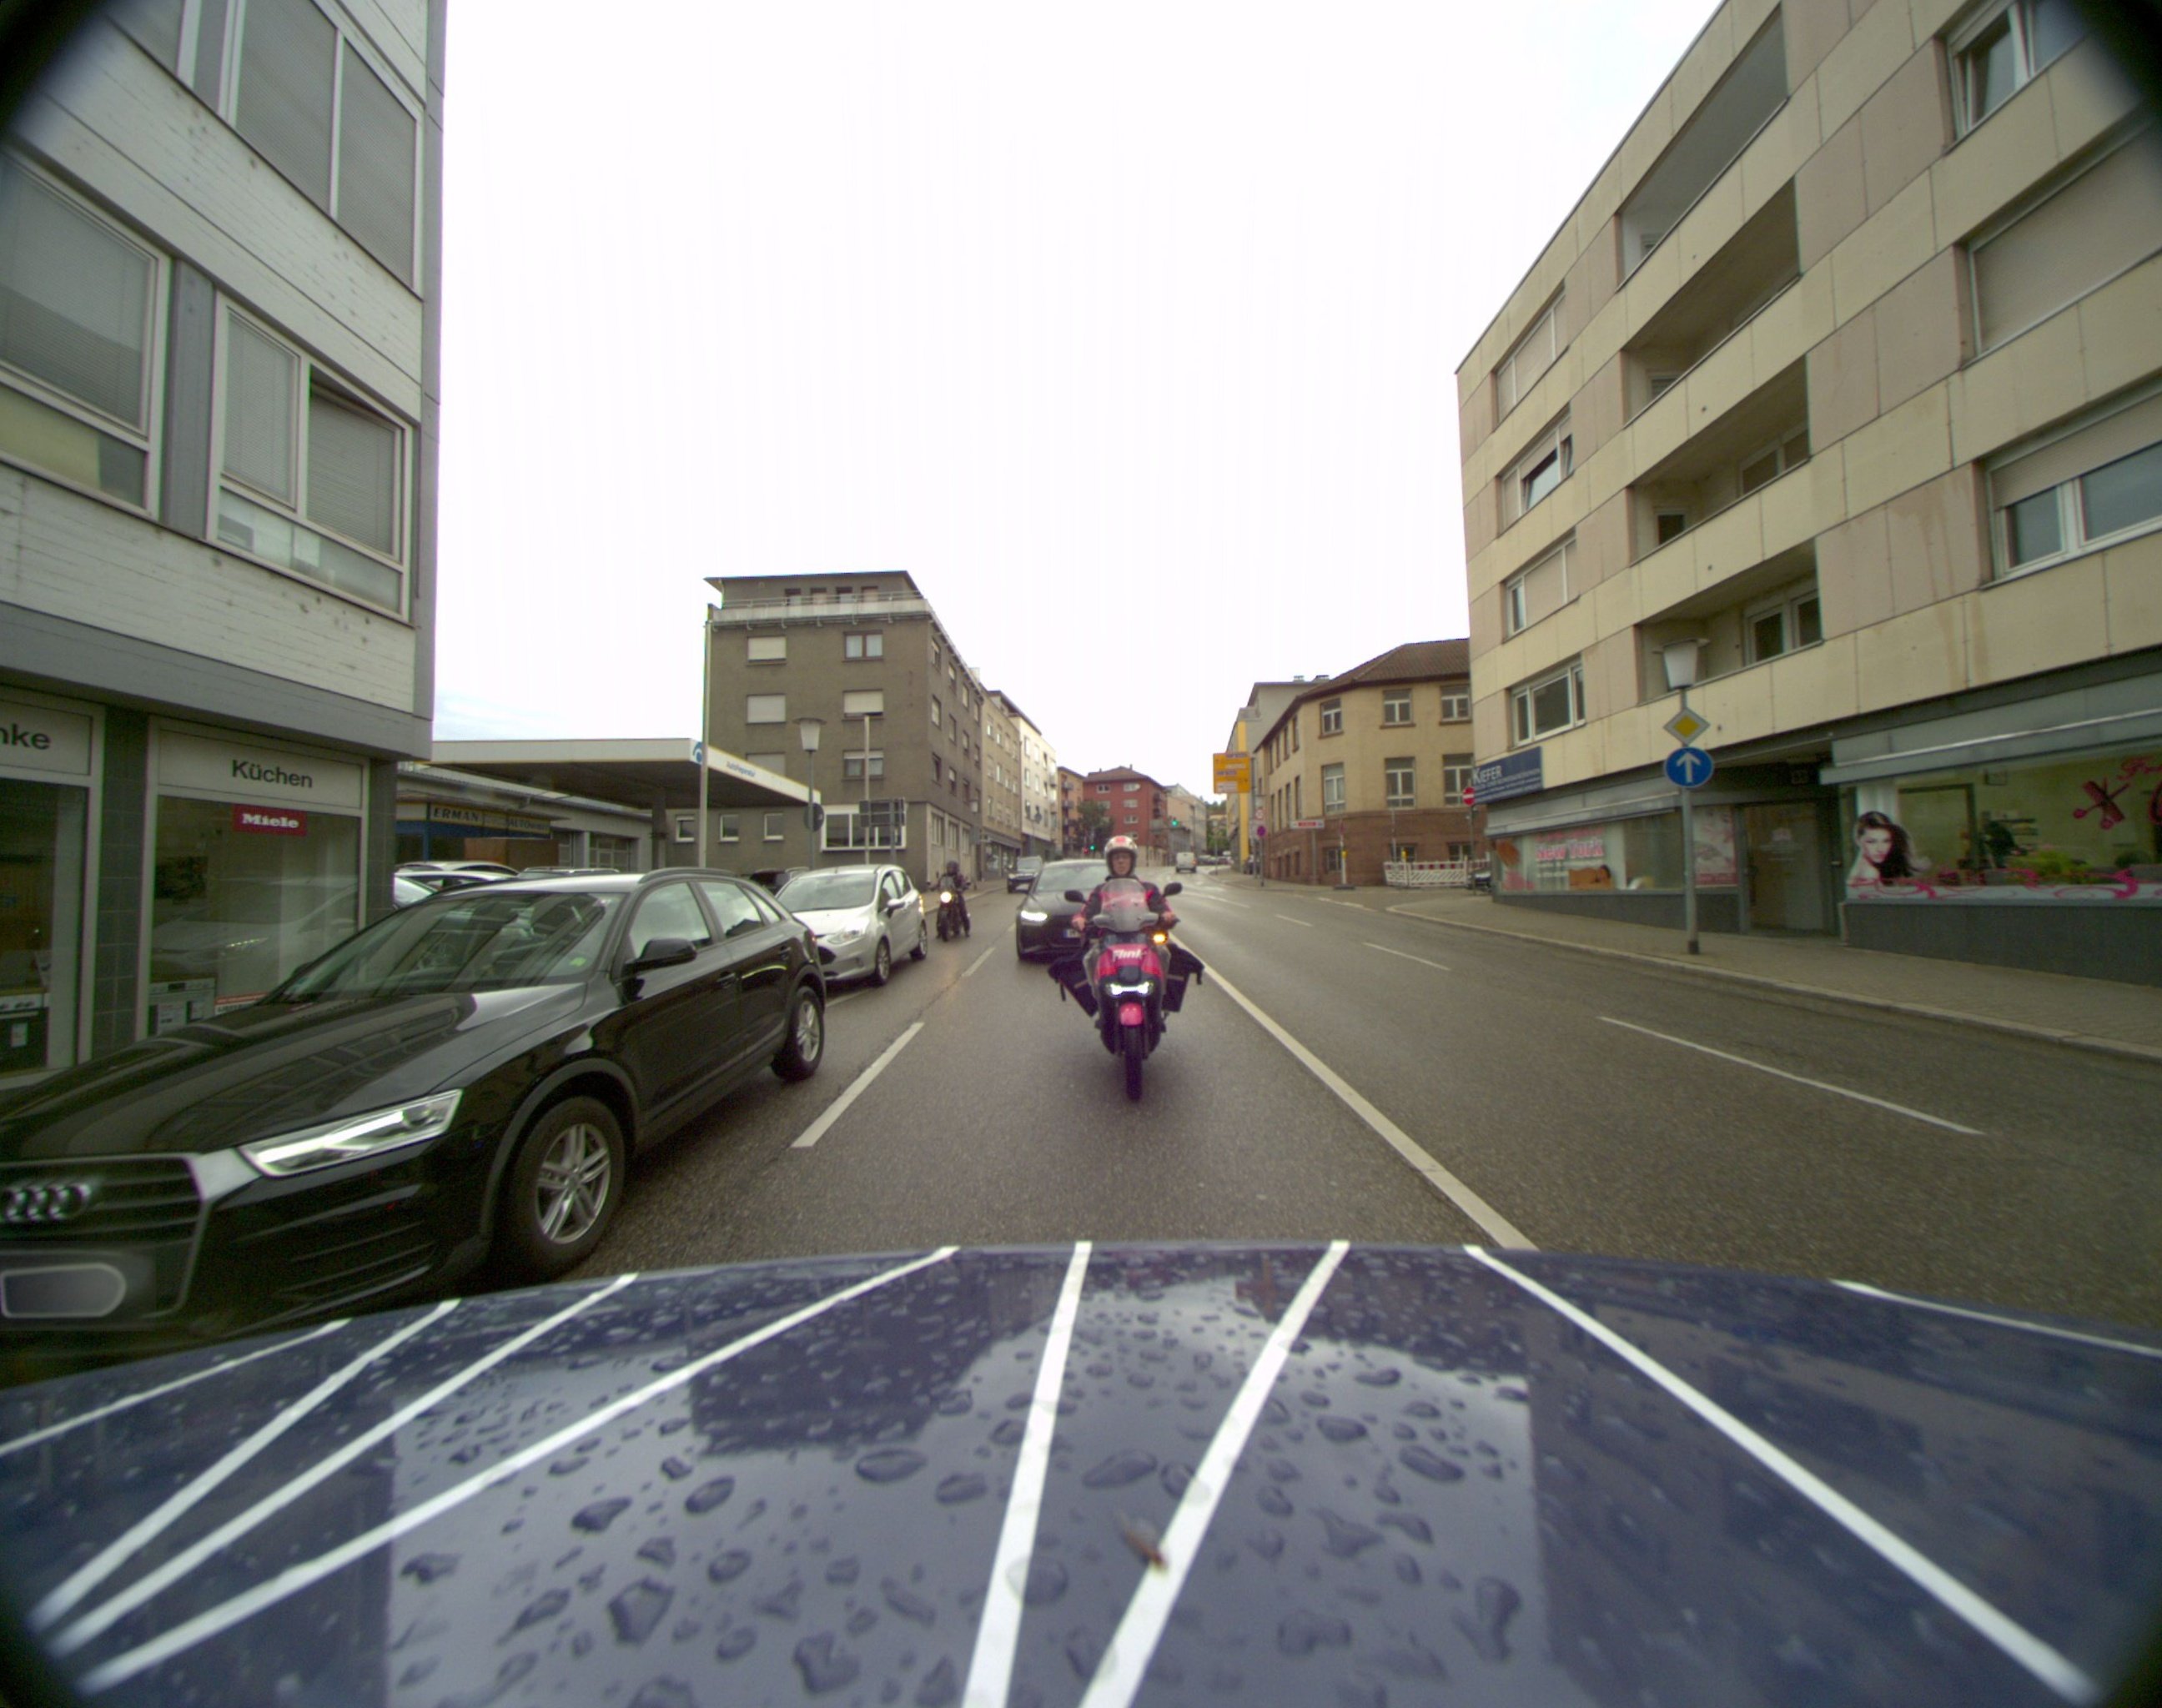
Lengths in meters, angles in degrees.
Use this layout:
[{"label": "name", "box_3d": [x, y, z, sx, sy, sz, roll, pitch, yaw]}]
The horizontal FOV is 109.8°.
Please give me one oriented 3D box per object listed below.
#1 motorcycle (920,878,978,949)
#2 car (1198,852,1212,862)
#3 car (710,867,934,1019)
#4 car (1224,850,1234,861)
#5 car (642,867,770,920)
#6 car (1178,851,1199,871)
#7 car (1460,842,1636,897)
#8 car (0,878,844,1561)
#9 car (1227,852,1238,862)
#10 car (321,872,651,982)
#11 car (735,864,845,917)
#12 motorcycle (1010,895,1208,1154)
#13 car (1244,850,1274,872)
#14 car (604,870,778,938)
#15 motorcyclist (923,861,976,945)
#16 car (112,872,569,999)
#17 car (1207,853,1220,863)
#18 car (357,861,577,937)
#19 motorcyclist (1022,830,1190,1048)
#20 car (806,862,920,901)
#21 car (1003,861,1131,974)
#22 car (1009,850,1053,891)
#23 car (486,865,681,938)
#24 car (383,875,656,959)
[{"label": "motorcycle", "box_3d": [-2.639, 1.154, 15.478, 0.847, 1.219, 2.372, -4, 0, -4]}, {"label": "car", "box_3d": [19.231, 0.481, 117.795, 1.860, 1.445, 4.323, -1, 0, 13]}, {"label": "car", "box_3d": [-3.398, 1.066, 10.925, 1.831, 1.532, 4.251, -5, 0, -3]}, {"label": "car", "box_3d": [27.016, 0.328, 138.768, 1.847, 1.893, 3.768, -1, 0, 11]}, {"label": "car", "box_3d": [-11.989, 1.223, 24.659, 1.793, 1.502, 4.420, 2, -1, 1]}, {"label": "car", "box_3d": [9.985, 0.625, 70.552, 1.865, 1.793, 4.268, 0, 0, 8]}, {"label": "car", "box_3d": [14.610, 0.496, 24.022, 4.358, 1.495, 1.755, -3, 0, 11]}, {"label": "car", "box_3d": [-2.915, 1.032, 4.026, 1.827, 1.551, 4.201, -4, 0, 1]}, {"label": "car", "box_3d": [25.929, 0.477, 129.821, 1.860, 1.688, 4.322, 1, 0, 12]}, {"label": "car", "box_3d": [-9.798, 1.142, 12.906, 4.002, 1.521, 1.761, -1, 0, -15]}, {"label": "car", "box_3d": [-9.444, 1.121, 25.058, 1.793, 1.503, 4.437, -1, 0, 1]}, {"label": "motorcycle", "box_3d": [0.214, 1.019, 5.530, 1.010, 1.218, 2.694, -4, 0, 3]}, {"label": "car", "box_3d": [13.424, 0.507, 57.482, 1.861, 1.445, 3.966, -4, -1, 10]}, {"label": "car", "box_3d": [-9.617, 1.156, 19.242, 1.792, 1.407, 4.616, 0, 0, 3]}, {"label": "motorcyclist", "box_3d": [-2.647, 0.974, 15.394, 0.847, 1.580, 0.962, -4, 1, -4]}, {"label": "car", "box_3d": [-9.570, 1.042, 10.260, 4.003, 1.441, 1.796, 2, -1, -16]}, {"label": "car", "box_3d": [19.175, 0.537, 109.891, 1.861, 1.445, 4.322, -1, 0, 11]}, {"label": "car", "box_3d": [-14.995, 1.010, 18.954, 1.793, 1.591, 4.419, -1, 0, 1]}, {"label": "motorcyclist", "box_3d": [0.181, 0.558, 5.393, 1.010, 1.373, 0.835, -4, 0, 3]}, {"label": "car", "box_3d": [-9.977, 1.236, 35.006, 4.531, 1.495, 2.001, -3, 0, 5]}, {"label": "car", "box_3d": [-0.093, 0.908, 12.797, 1.705, 1.451, 4.319, -3, 0, 3]}, {"label": "car", "box_3d": [-2.398, 0.766, 37.384, 1.848, 1.892, 3.765, -1, 0, 0]}, {"label": "car", "box_3d": [-12.196, 1.100, 19.070, 1.793, 1.535, 4.493, 2, -1, 1]}, {"label": "car", "box_3d": [-10.957, 1.182, 15.145, 4.001, 1.393, 1.669, -1, 0, -14]}]
